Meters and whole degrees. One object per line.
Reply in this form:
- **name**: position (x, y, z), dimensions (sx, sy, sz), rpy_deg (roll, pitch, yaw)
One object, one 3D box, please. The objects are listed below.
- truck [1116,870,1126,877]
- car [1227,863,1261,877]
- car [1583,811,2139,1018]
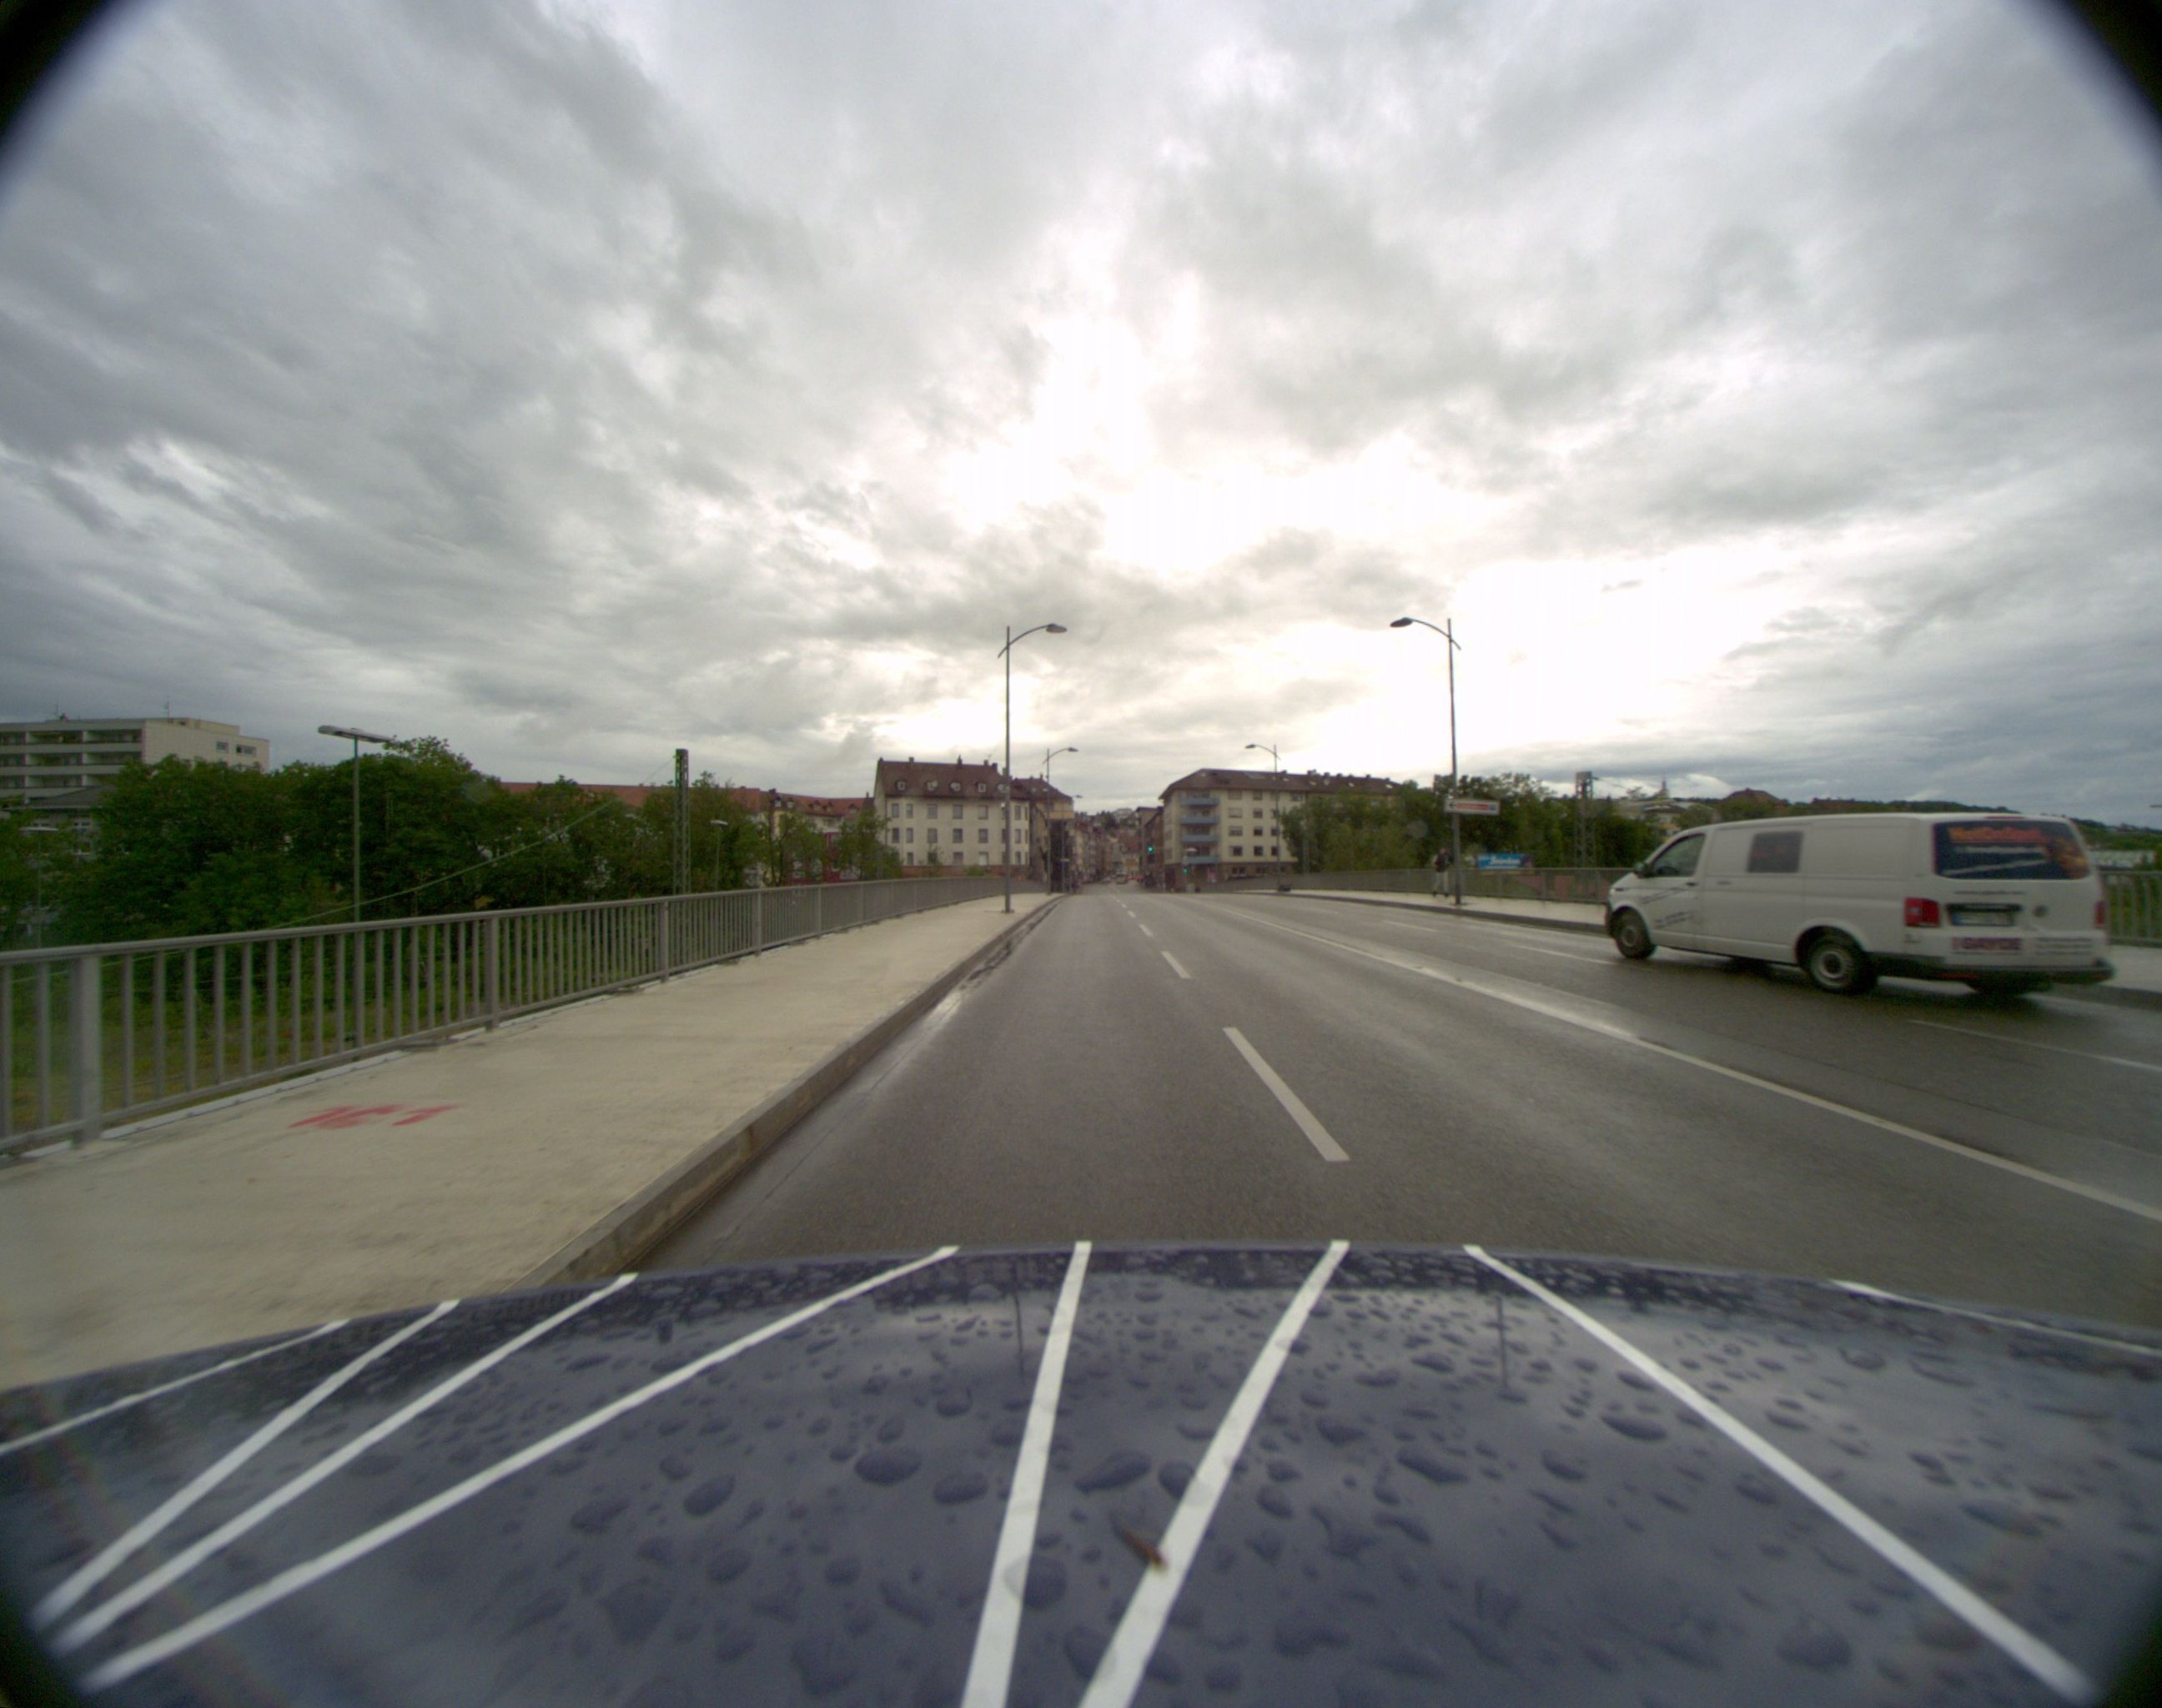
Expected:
- **truck**: position (10.722, 5.251, 205.390), dimensions (2.475, 2.001, 4.821), rpy_deg (-2, -1, 1)
- **car**: position (24.178, 2.349, 112.728), dimensions (4.359, 2.001, 2.132), rpy_deg (-1, -1, -20)
- **car**: position (8.794, 0.635, 9.450), dimensions (1.891, 1.811, 4.960), rpy_deg (3, -2, 2)
